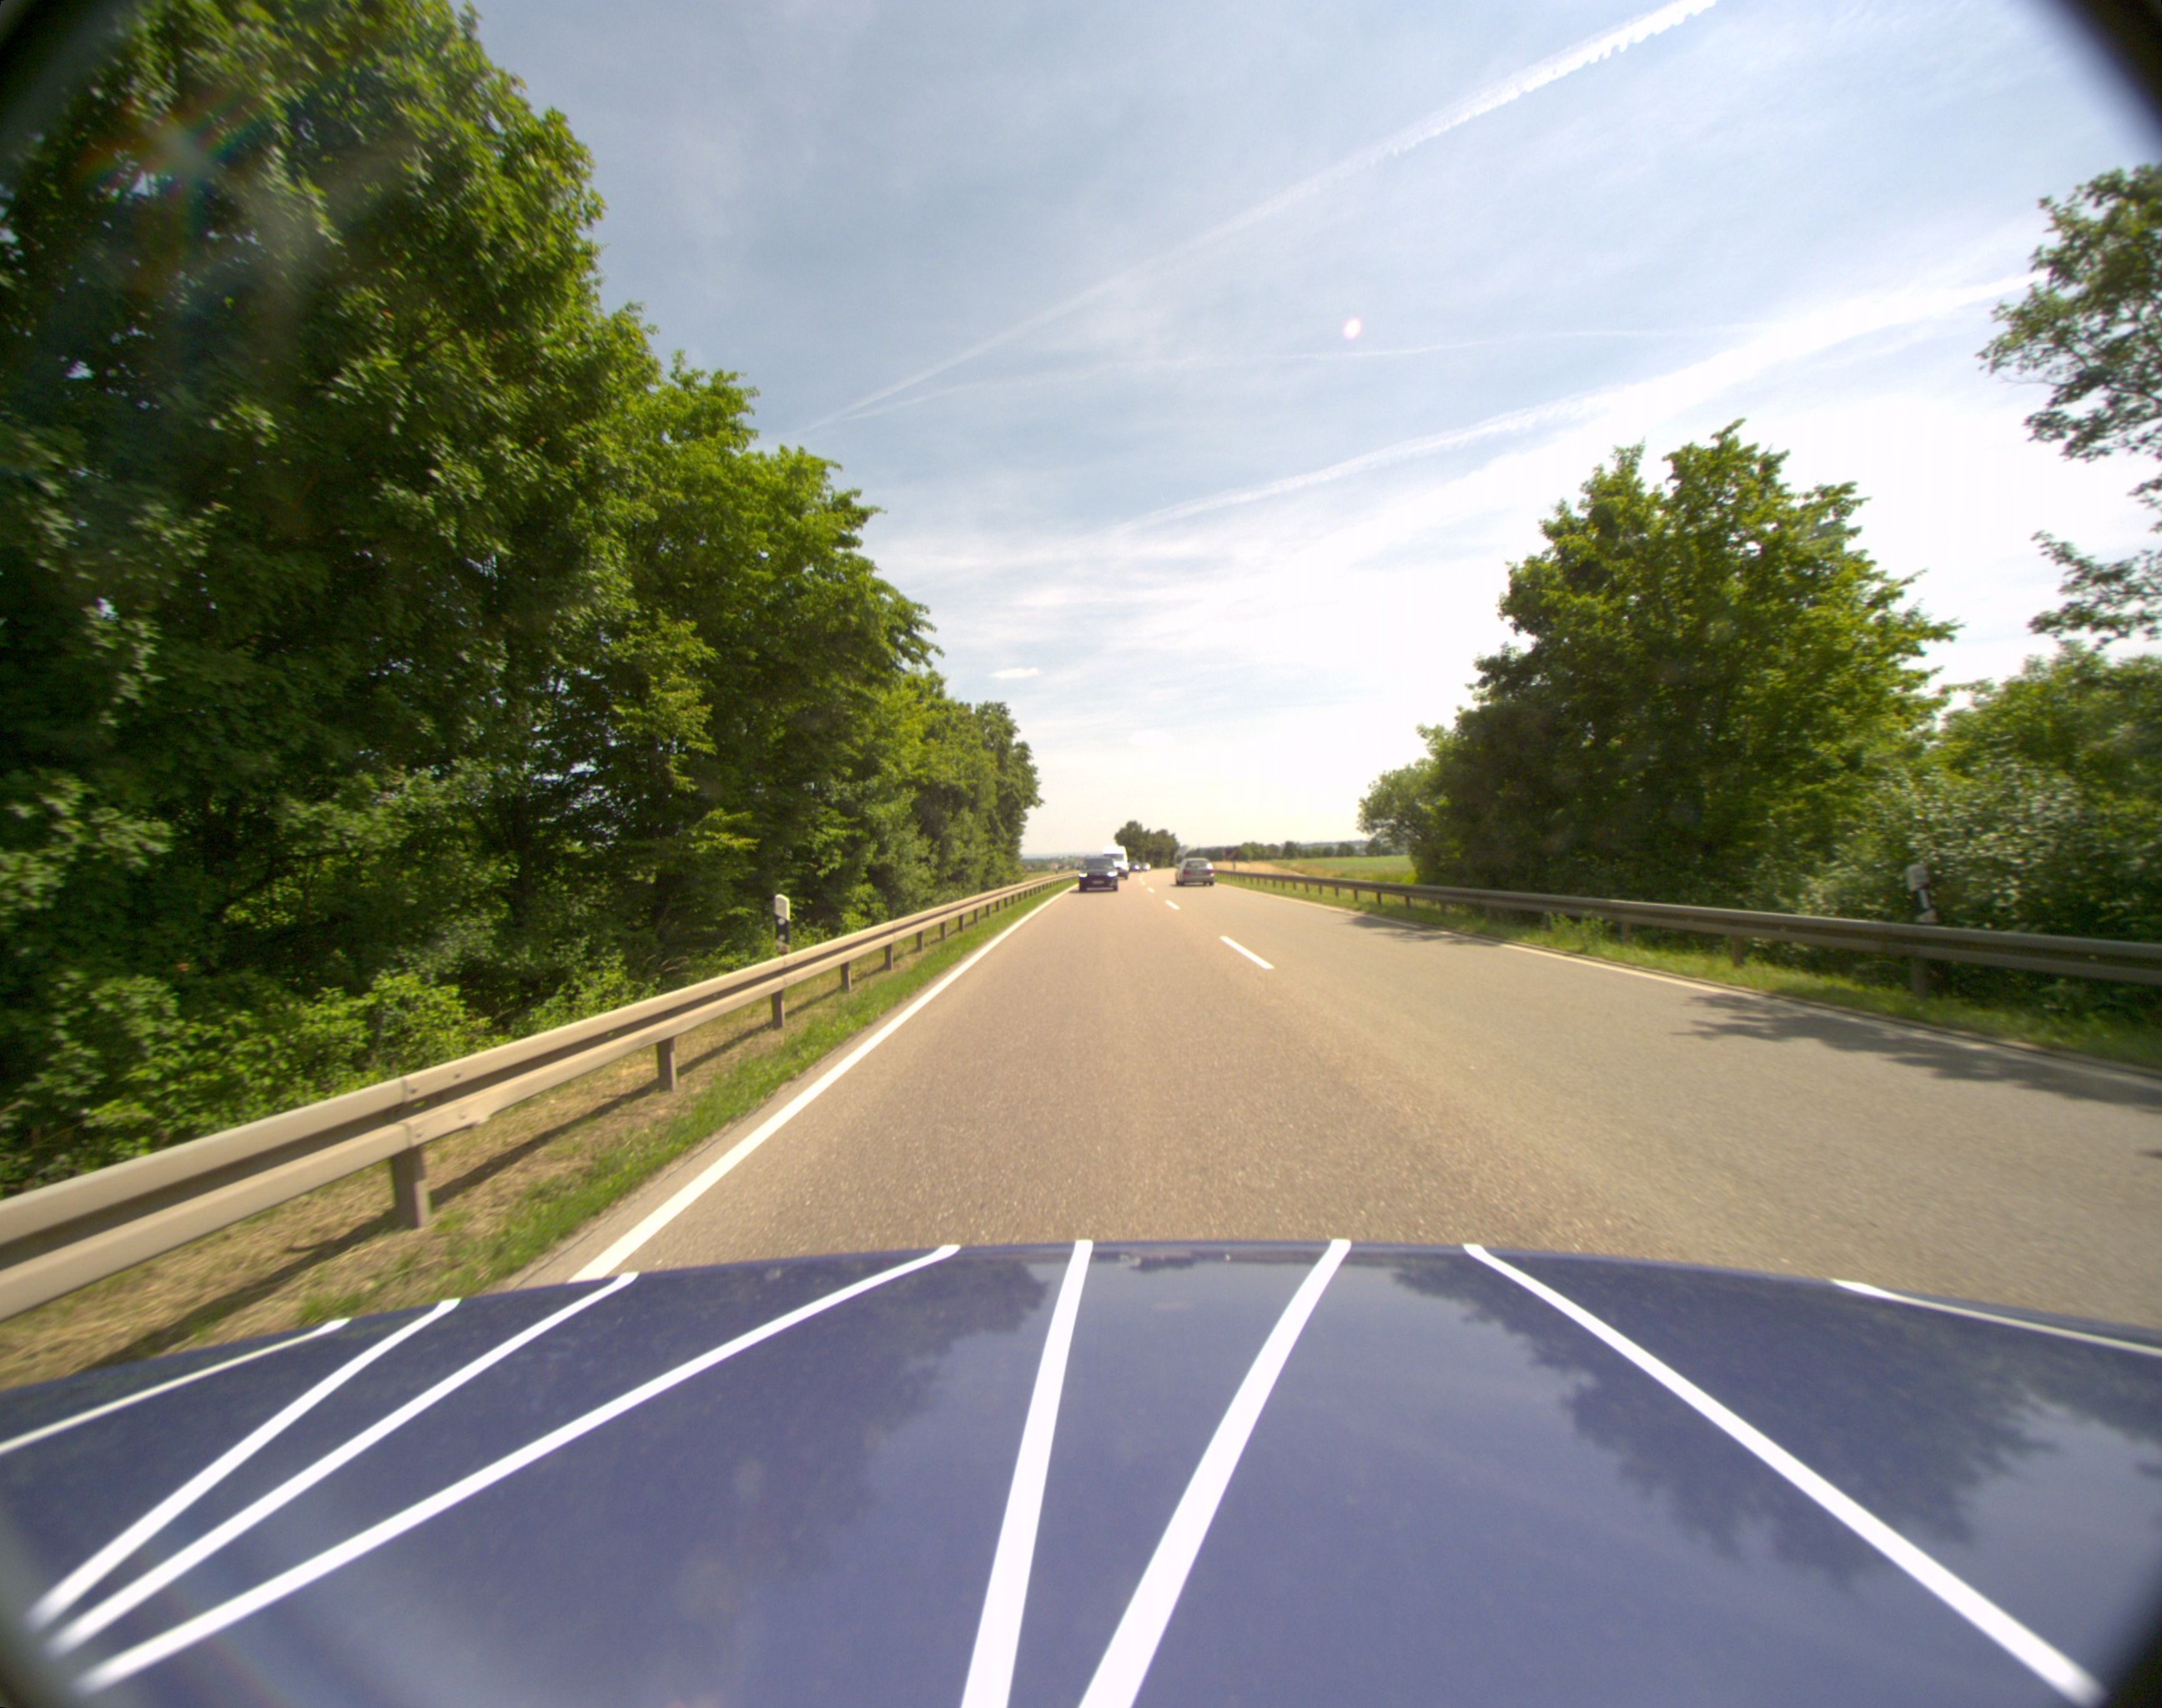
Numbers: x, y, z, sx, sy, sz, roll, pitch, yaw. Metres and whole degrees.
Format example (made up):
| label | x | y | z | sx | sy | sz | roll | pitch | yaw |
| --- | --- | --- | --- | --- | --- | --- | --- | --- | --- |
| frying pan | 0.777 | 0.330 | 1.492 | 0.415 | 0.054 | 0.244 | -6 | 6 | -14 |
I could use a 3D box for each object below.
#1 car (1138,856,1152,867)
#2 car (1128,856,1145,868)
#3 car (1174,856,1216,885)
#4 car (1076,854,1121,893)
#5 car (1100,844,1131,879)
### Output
| label | x | y | z | sx | sy | sz | roll | pitch | yaw |
| --- | --- | --- | --- | --- | --- | --- | --- | --- | --- |
| car | 10.807 | 1.272 | 127.929 | 2.037 | 1.641 | 4.748 | -1 | 0 | 9 |
| car | 8.085 | 1.215 | 110.577 | 2.038 | 1.641 | 4.747 | -1 | 0 | 8 |
| car | 6.256 | 0.859 | 42.025 | 1.748 | 1.458 | 5.128 | -1 | 0 | 2 |
| car | 0.909 | 0.898 | 37.508 | 2.039 | 1.691 | 5.513 | -1 | 0 | 2 |
| car | 2.740 | 0.561 | 59.678 | 2.225 | 2.617 | 5.754 | -1 | 0 | 4 |
